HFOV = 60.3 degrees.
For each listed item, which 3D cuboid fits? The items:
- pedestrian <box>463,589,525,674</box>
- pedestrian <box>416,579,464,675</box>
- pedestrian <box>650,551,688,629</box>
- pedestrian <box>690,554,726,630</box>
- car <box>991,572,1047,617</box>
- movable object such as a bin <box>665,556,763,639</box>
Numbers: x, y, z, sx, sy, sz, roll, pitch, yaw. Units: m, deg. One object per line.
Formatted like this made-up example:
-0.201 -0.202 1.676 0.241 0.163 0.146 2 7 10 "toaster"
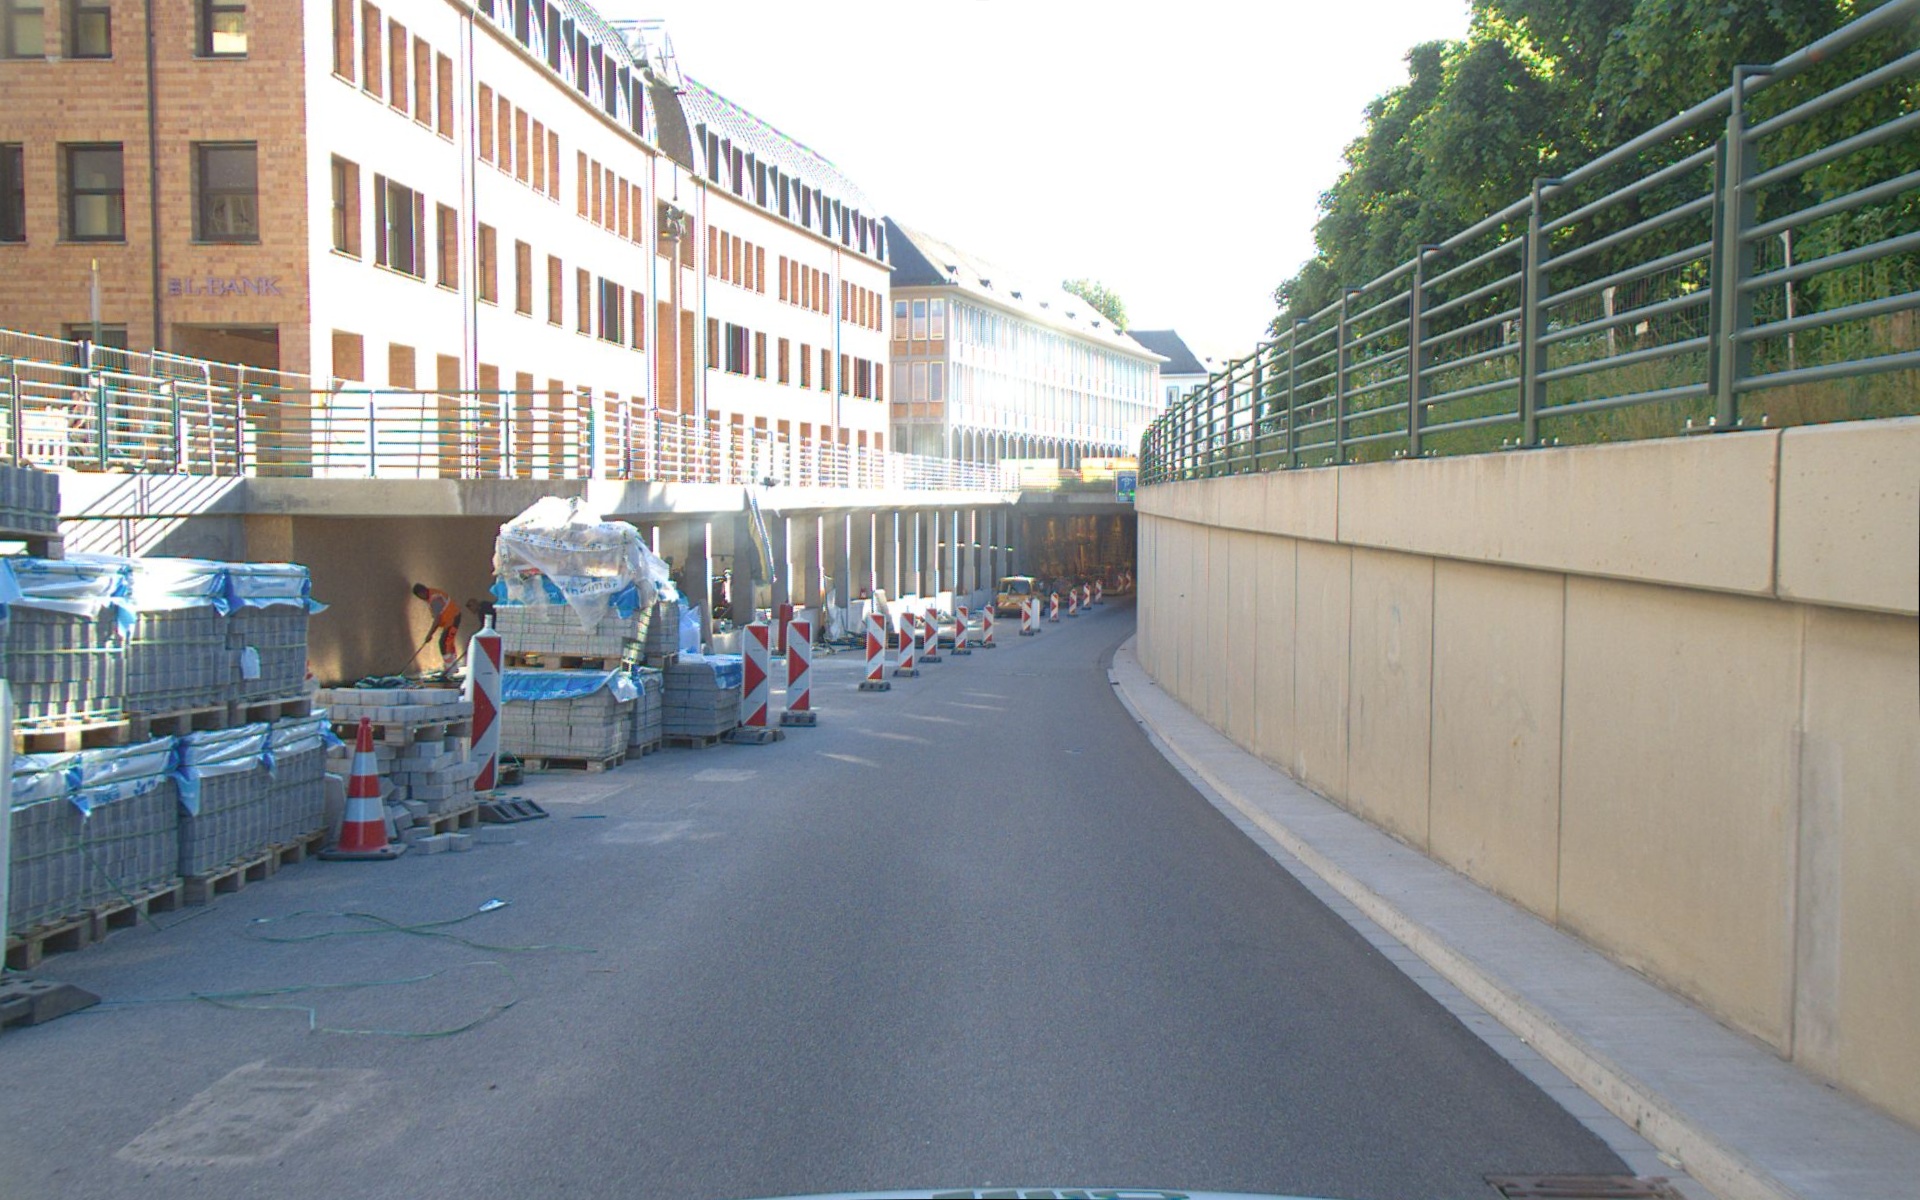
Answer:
-7.906 0.525 28.072 0.854 1.422 0.783 0 0 -4 "pedestrian"
-8.846 0.452 28.141 0.636 1.607 0.630 0 0 -4 "pedestrian"
-7.024 -0.247 39.957 0.689 1.846 0.710 2 0 3 "pedestrian"
-6.207 -0.202 40.725 0.643 1.836 0.625 2 0 13 "pedestrian"
2.676 -0.275 74.198 1.808 1.806 4.439 1 3 11 "car"
-6.317 -0.084 42.739 1.846 2.021 3.160 1 1 3 "movable object such as a bin"
